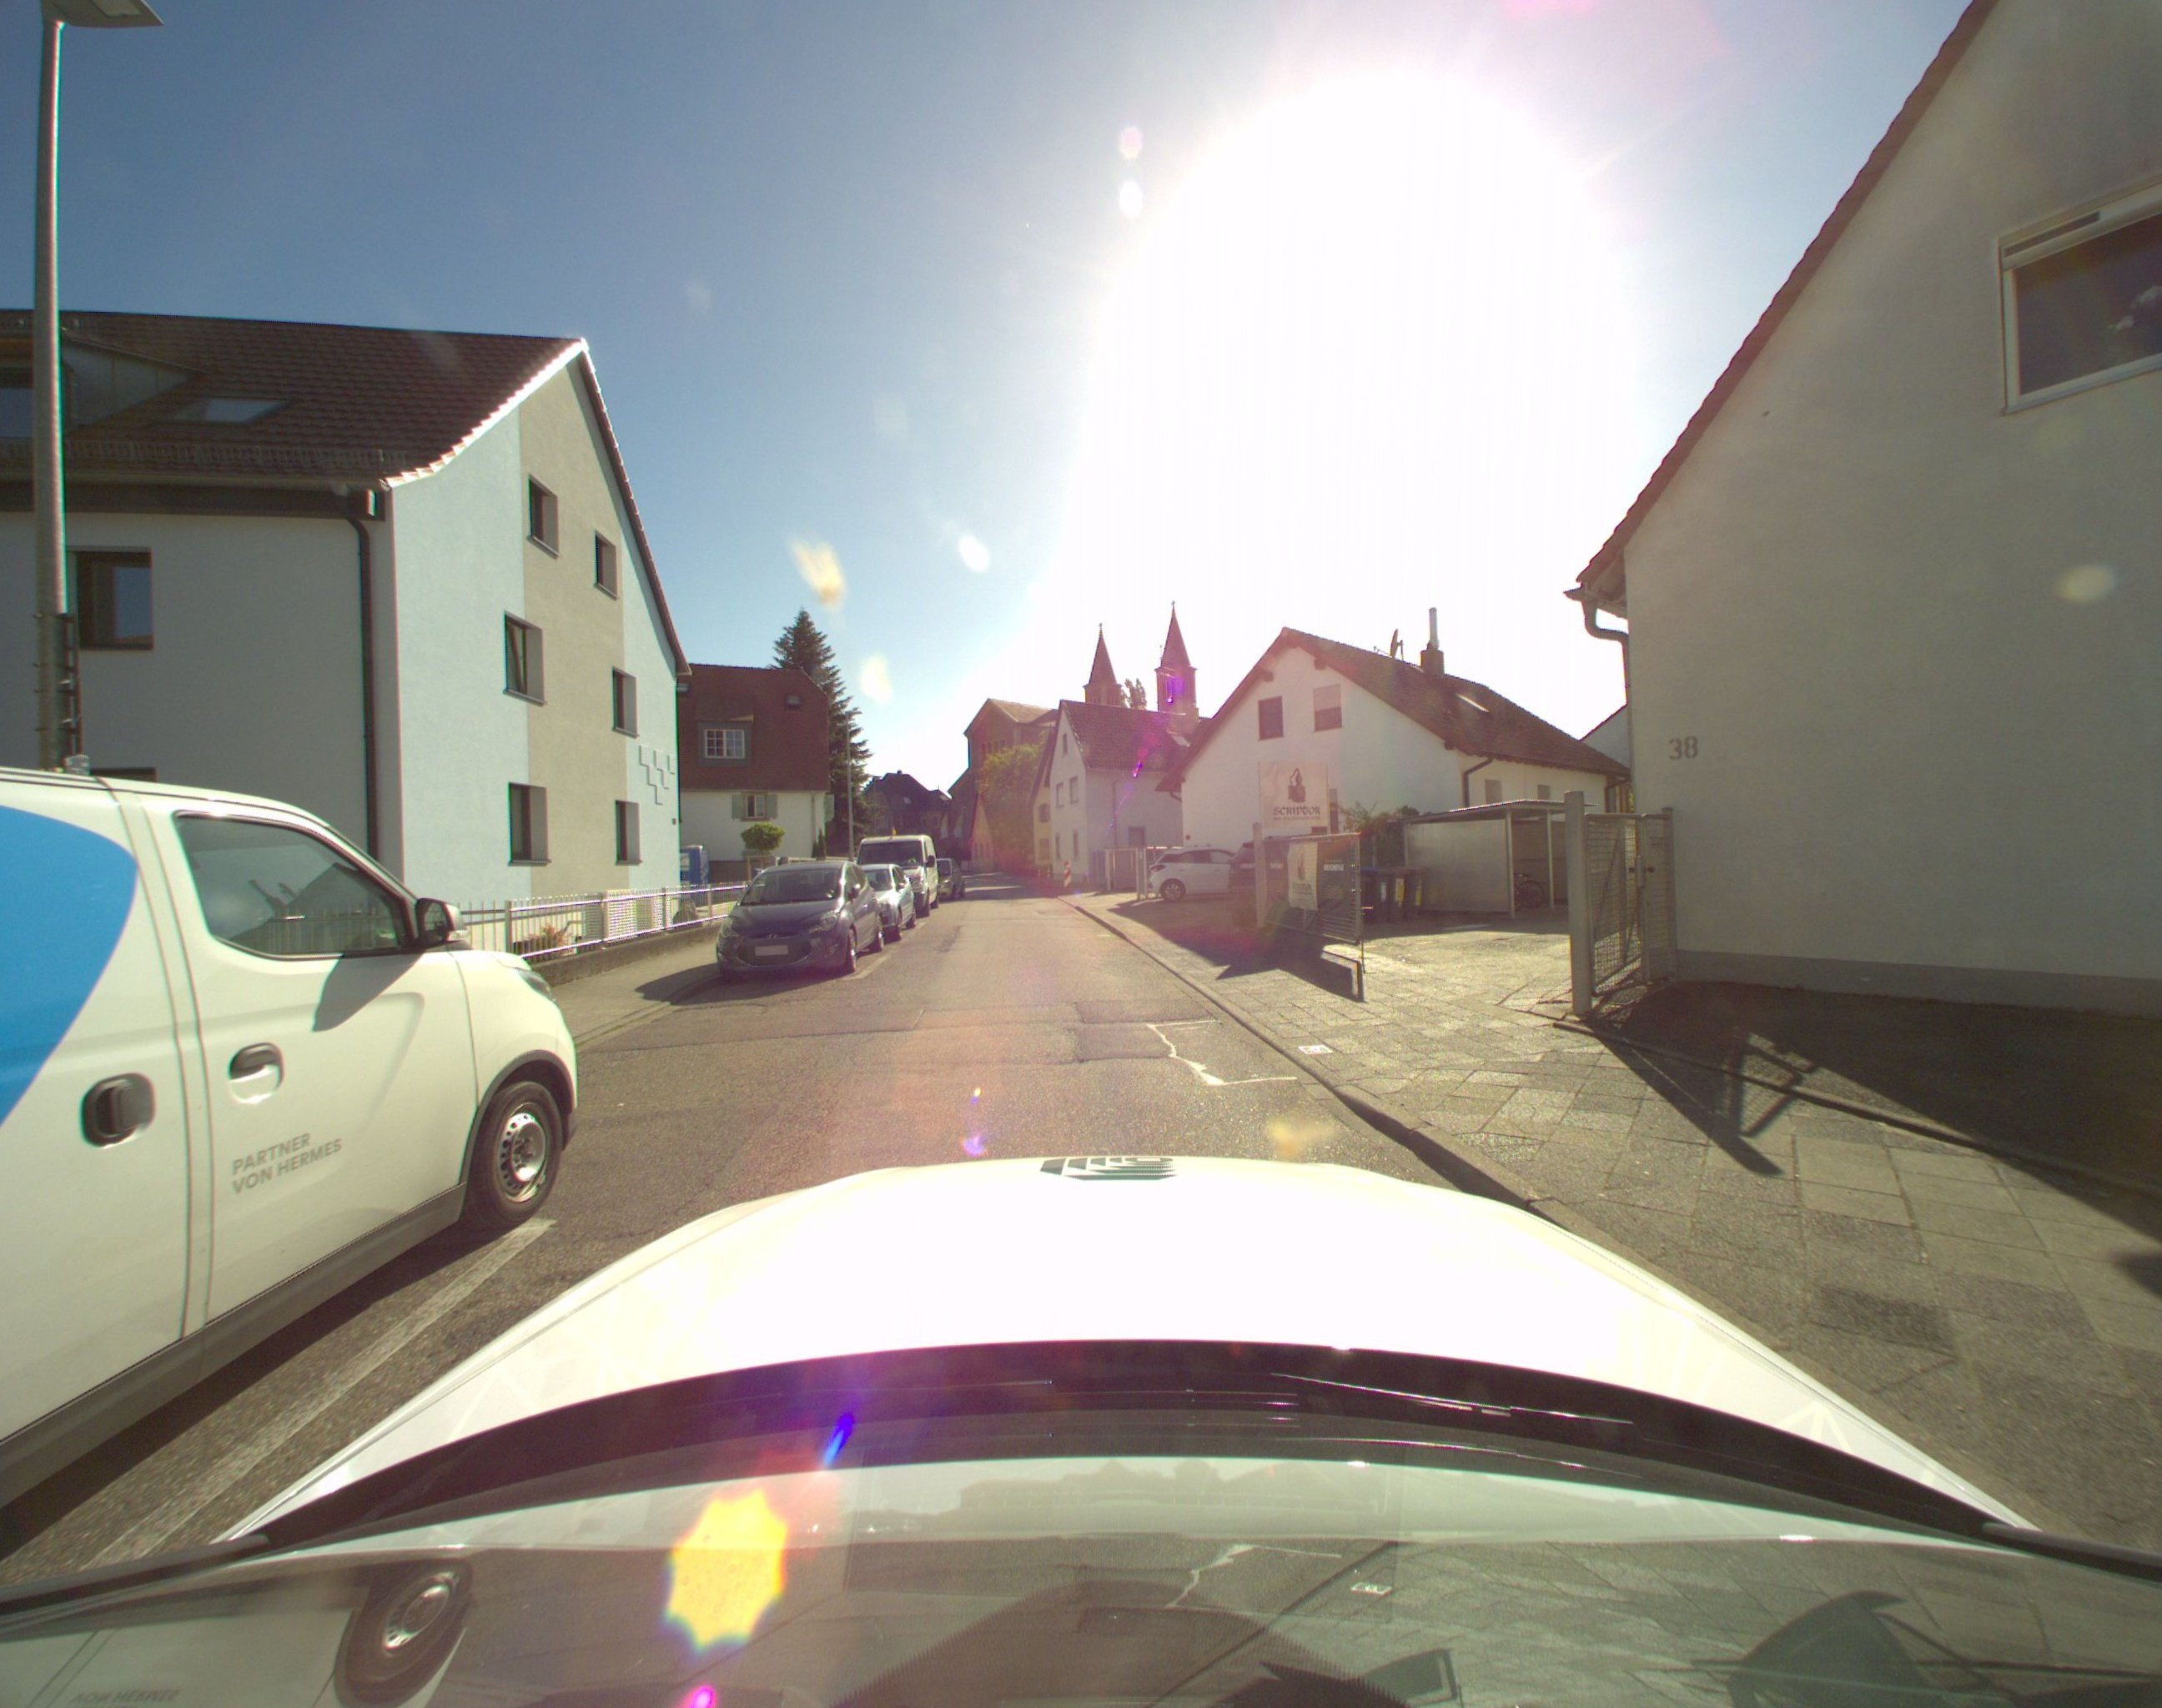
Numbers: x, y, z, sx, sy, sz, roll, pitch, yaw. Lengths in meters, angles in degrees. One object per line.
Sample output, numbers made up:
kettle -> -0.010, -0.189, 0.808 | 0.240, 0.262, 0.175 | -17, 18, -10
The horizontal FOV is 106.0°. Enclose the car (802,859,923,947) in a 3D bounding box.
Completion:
car -> -4.400, 0.904, 17.020 | 1.709, 1.504, 4.226 | -3, 0, -6

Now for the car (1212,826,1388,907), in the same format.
car -> 5.358, 0.255, 19.782 | 4.066, 1.688, 1.891 | -3, 0, -34

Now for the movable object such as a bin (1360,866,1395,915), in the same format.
movable object such as a bin -> 5.707, 0.692, 15.672 | 0.519, 0.923, 0.418 | 1, -2, -35

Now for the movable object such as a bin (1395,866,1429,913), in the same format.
movable object such as a bin -> 6.699, 0.712, 16.482 | 0.519, 0.923, 0.418 | 1, -2, -35

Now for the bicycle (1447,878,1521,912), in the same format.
bicycle -> 8.462, 0.854, 17.142 | 0.372, 0.656, 1.351 | -2, 0, -39

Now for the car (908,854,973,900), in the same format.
car -> -5.213, 0.831, 30.605 | 1.566, 1.546, 2.971 | -2, 0, 6

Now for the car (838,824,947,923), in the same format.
car -> -5.307, 0.492, 23.838 | 2.194, 2.389, 6.052 | -4, 0, -6

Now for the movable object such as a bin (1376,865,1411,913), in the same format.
movable object such as a bin -> 6.146, 0.689, 16.004 | 0.519, 0.923, 0.418 | 1, -2, -35

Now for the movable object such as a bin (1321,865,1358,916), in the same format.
movable object such as a bin -> 4.784, 0.669, 15.053 | 0.519, 0.923, 0.418 | 1, -2, -35

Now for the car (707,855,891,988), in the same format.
car -> -4.080, 0.863, 12.448 | 1.712, 1.598, 3.917 | -3, 0, -6

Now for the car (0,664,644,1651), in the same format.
car -> -3.095, 0.628, 1.731 | 1.900, 1.917, 5.060 | -3, 0, -6

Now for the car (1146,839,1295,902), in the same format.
car -> 3.842, 0.450, 23.011 | 3.896, 1.492, 1.848 | -3, 0, 2

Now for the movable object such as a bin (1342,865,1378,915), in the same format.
movable object such as a bin -> 5.262, 0.678, 15.353 | 0.519, 0.923, 0.418 | 1, -2, -35

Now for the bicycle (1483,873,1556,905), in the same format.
bicycle -> 9.679, 0.768, 18.013 | 0.372, 0.656, 1.351 | -2, 0, -39
